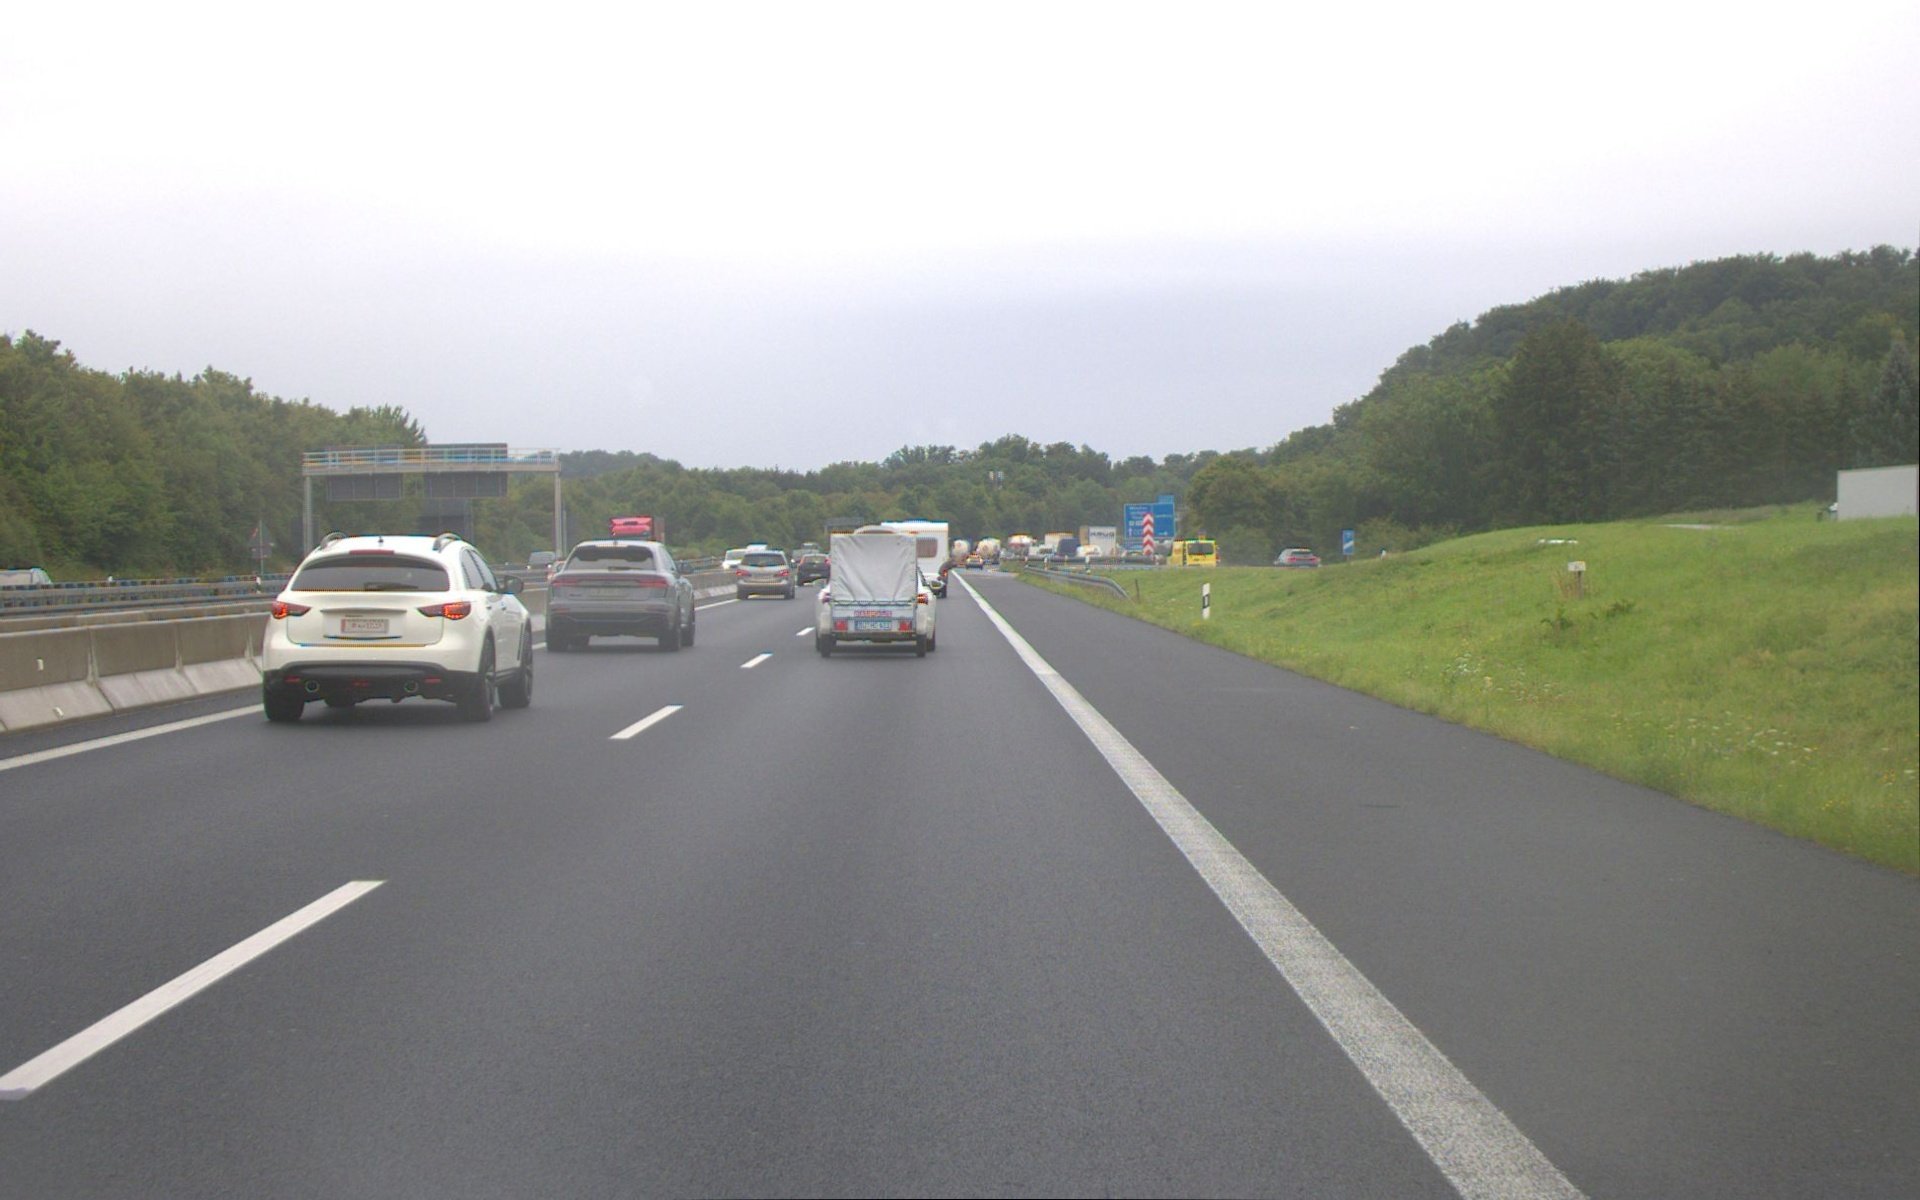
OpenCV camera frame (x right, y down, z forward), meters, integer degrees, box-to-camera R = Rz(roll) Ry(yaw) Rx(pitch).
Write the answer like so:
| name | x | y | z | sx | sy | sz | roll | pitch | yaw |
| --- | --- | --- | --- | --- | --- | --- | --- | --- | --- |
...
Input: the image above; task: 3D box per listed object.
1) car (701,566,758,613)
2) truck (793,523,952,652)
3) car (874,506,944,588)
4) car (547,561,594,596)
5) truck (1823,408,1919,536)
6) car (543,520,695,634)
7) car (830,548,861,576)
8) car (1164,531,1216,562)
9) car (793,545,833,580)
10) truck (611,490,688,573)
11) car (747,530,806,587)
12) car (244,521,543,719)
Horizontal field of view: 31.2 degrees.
| name | x | y | z | sx | sy | sz | roll | pitch | yaw |
| --- | --- | --- | --- | --- | --- | --- | --- | --- | --- |
| car | -8.408 | -0.410 | 125.539 | 1.819 | 1.656 | 4.017 | 0 | 1 | 0 |
| truck | -1.316 | -0.231 | 52.214 | 2.242 | 1.833 | 6.585 | 0 | 1 | -1 |
| car | -1.745 | -1.796 | 117.753 | 2.331 | 2.716 | 6.540 | 0 | 1 | -1 |
| car | -17.728 | -0.994 | 156.619 | 1.724 | 1.547 | 4.583 | 1 | 1 | -1 |
| truck | 29.491 | -3.806 | 104.571 | 3.824 | 3.646 | 8.273 | 1 | 1 | -4 |
| car | -5.307 | -0.378 | 54.057 | 1.975 | 1.697 | 4.802 | 1 | 1 | -1 |
| car | -6.609 | -2.212 | 199.486 | 1.645 | 1.568 | 4.000 | 1 | 1 | 0 |
| car | 11.771 | -2.733 | 176.041 | 1.993 | 1.546 | 4.001 | 1 | 1 | -5 |
| car | -6.767 | -1.748 | 158.714 | 1.645 | 1.568 | 4.000 | 1 | 1 | 0 |
| truck | -18.126 | -3.988 | 201.374 | 3.400 | 4.717 | 10.485 | 0 | 1 | 0 |
| car | -5.956 | -1.361 | 112.031 | 1.738 | 1.787 | 4.000 | 0 | 1 | -1 |
| car | -5.066 | 0.131 | 31.345 | 2.048 | 1.665 | 4.541 | 0 | 1 | -1 |
